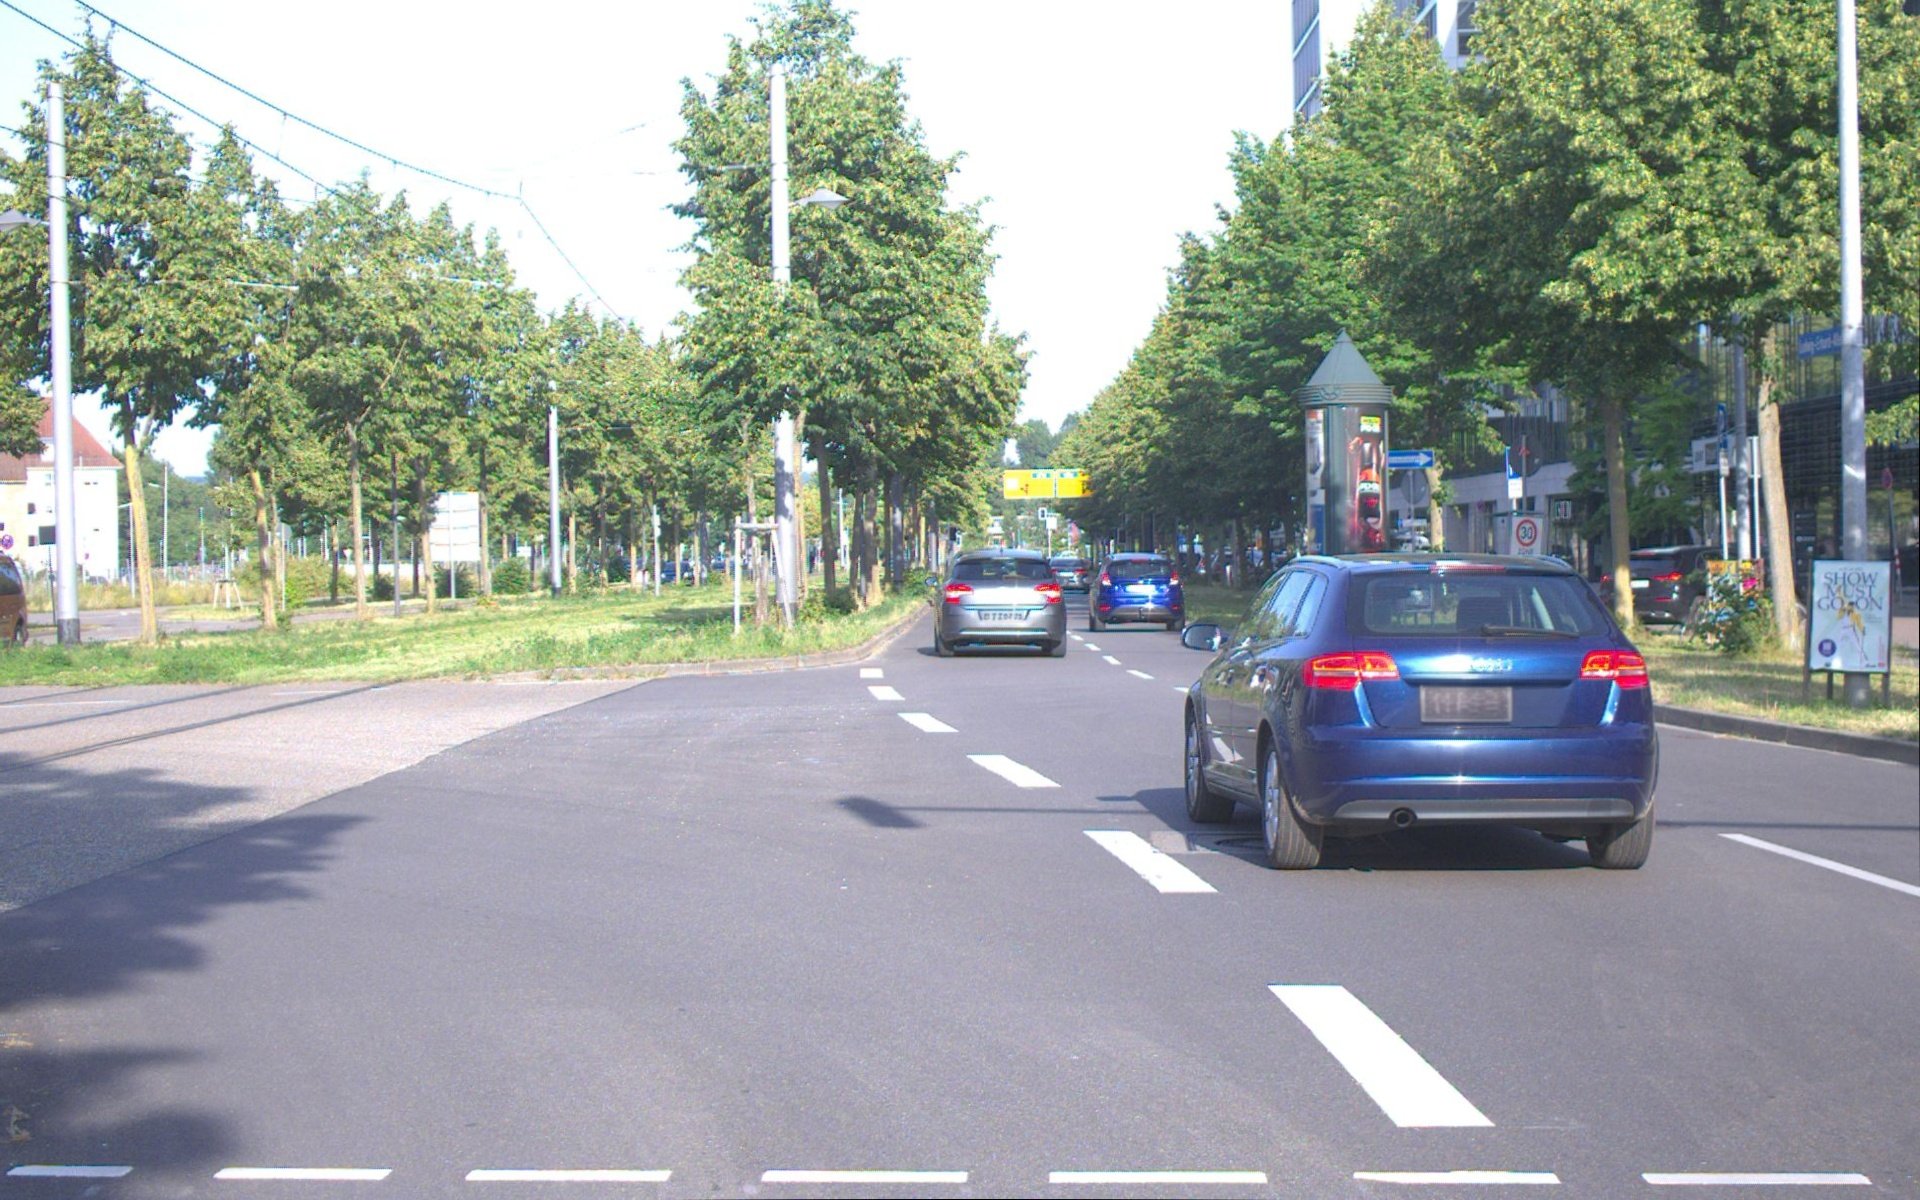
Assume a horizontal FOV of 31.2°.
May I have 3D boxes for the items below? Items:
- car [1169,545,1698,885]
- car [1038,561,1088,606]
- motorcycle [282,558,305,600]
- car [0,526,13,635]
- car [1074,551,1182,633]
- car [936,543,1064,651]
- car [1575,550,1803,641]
[{"bbox_3d":[2.143,0.469,16.663,1.751,1.430,4.036,1,1,-4],"label":"car"},{"bbox_3d":[4.169,-0.668,139.243,1.825,1.779,4.000,1,1,-1],"label":"car"},{"bbox_3d":[-24.774,-0.789,127.749,0.473,1.525,1.993,1,1,-1],"label":"motorcycle"},{"bbox_3d":[-16.310,-0.313,54.530,1.684,1.769,3.883,1,1,-3],"label":"car"},{"bbox_3d":[3.107,-0.165,64.151,1.560,1.419,3.908,1,1,-4],"label":"car"},{"bbox_3d":[0.525,-0.064,47.944,1.694,1.419,4.039,1,1,0],"label":"car"},{"bbox_3d":[11.971,-0.072,56.346,1.779,1.419,3.950,1,1,45],"label":"car"}]
